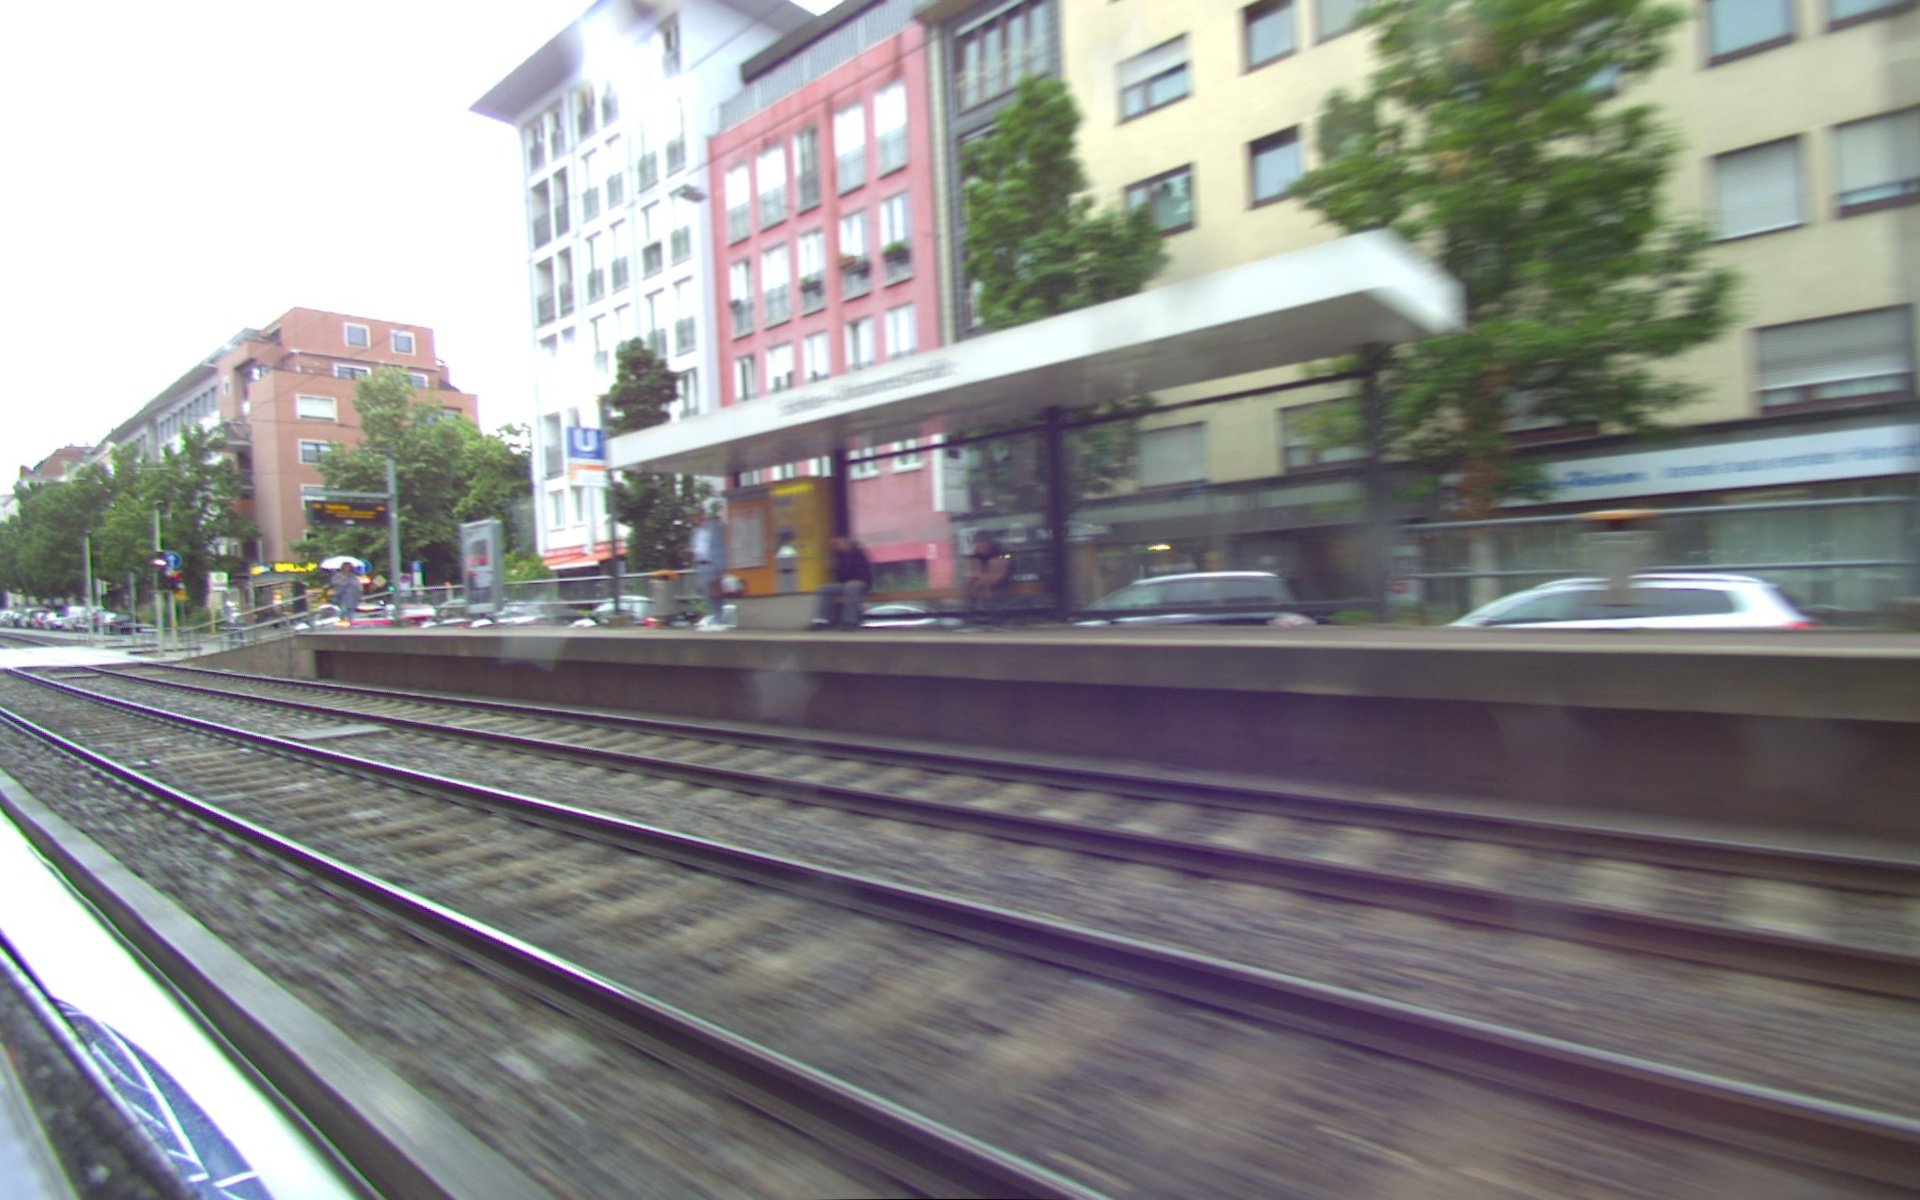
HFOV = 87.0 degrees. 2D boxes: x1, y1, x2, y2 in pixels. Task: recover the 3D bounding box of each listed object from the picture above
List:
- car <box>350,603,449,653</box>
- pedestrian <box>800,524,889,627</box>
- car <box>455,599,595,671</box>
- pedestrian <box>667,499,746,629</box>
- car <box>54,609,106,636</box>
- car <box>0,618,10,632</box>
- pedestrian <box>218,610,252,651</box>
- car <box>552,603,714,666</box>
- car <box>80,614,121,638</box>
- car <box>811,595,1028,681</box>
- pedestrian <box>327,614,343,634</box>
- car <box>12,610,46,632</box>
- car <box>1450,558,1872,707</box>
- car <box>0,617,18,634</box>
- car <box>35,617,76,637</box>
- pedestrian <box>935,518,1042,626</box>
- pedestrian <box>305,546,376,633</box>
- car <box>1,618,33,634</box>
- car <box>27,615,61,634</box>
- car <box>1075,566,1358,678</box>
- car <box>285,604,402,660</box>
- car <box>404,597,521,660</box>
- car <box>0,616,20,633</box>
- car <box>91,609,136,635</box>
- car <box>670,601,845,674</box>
[{"bbox_3d":[-20.005,1.004,36.022,4.552,1.624,1.707,-2,-1,42],"label":"car"},{"bbox_3d":[-1.479,-0.298,12.961,0.883,1.258,0.686,-2,0,39],"label":"pedestrian"},{"bbox_3d":[-12.370,0.966,28.678,4.375,1.872,1.785,-1,0,39],"label":"car"},{"bbox_3d":[-3.479,-0.473,13.894,0.849,1.724,0.649,-2,0,39],"label":"pedestrian"},{"bbox_3d":[-65.205,1.657,74.983,5.249,1.858,1.889,-1,1,37],"label":"car"},{"bbox_3d":[-99.930,2.617,105.019,4.457,1.386,1.695,-1,1,43],"label":"car"},{"bbox_3d":[-30.953,1.291,43.202,0.983,1.709,0.813,-1,2,33],"label":"pedestrian"},{"bbox_3d":[-8.388,0.861,25.783,4.313,1.447,1.823,-1,0,38],"label":"car"},{"bbox_3d":[-60.445,1.821,71.161,4.369,1.548,1.621,-1,1,42],"label":"car"},{"bbox_3d":[-0.829,0.687,19.139,3.973,1.447,1.657,-1,0,38],"label":"car"},{"bbox_3d":[-37.648,1.467,60.963,0.668,1.187,0.609,-1,0,-44],"label":"pedestrian"},{"bbox_3d":[-82.596,1.870,89.791,4.429,1.831,1.657,-1,1,40],"label":"car"},{"bbox_3d":[7.823,0.337,11.584,3.731,1.447,1.553,-1,0,38],"label":"car"},{"bbox_3d":[-91.213,2.418,96.545,4.021,1.549,1.621,-1,1,42],"label":"car"},{"bbox_3d":[-72.208,2.123,80.806,4.525,1.473,1.676,-1,1,38],"label":"car"},{"bbox_3d":[0.327,-0.296,11.275,0.847,1.132,0.886,-1,0,30],"label":"pedestrian"},{"bbox_3d":[-15.110,-0.247,24.669,1.382,2.029,1.104,-1,0,41],"label":"pedestrian"},{"bbox_3d":[-86.881,2.379,93.222,4.726,1.451,1.622,-1,1,40],"label":"car"},{"bbox_3d":[-78.099,2.077,86.259,3.801,1.550,1.622,-1,1,40],"label":"car"},{"bbox_3d":[3.699,0.307,14.897,3.731,1.447,1.553,-1,0,38],"label":"car"},{"bbox_3d":[-19.624,0.988,32.135,5.019,1.590,1.788,-1,0,42],"label":"car"},{"bbox_3d":[-16.007,0.886,32.471,4.316,1.872,1.691,-1,0,39],"label":"car"},{"bbox_3d":[-95.426,2.455,101.156,4.334,1.596,1.641,-1,1,40],"label":"car"},{"bbox_3d":[-55.964,1.419,66.883,4.369,1.636,1.621,-1,1,42],"label":"car"},{"bbox_3d":[-4.486,0.786,22.160,3.973,1.447,1.553,-1,0,38],"label":"car"}]
